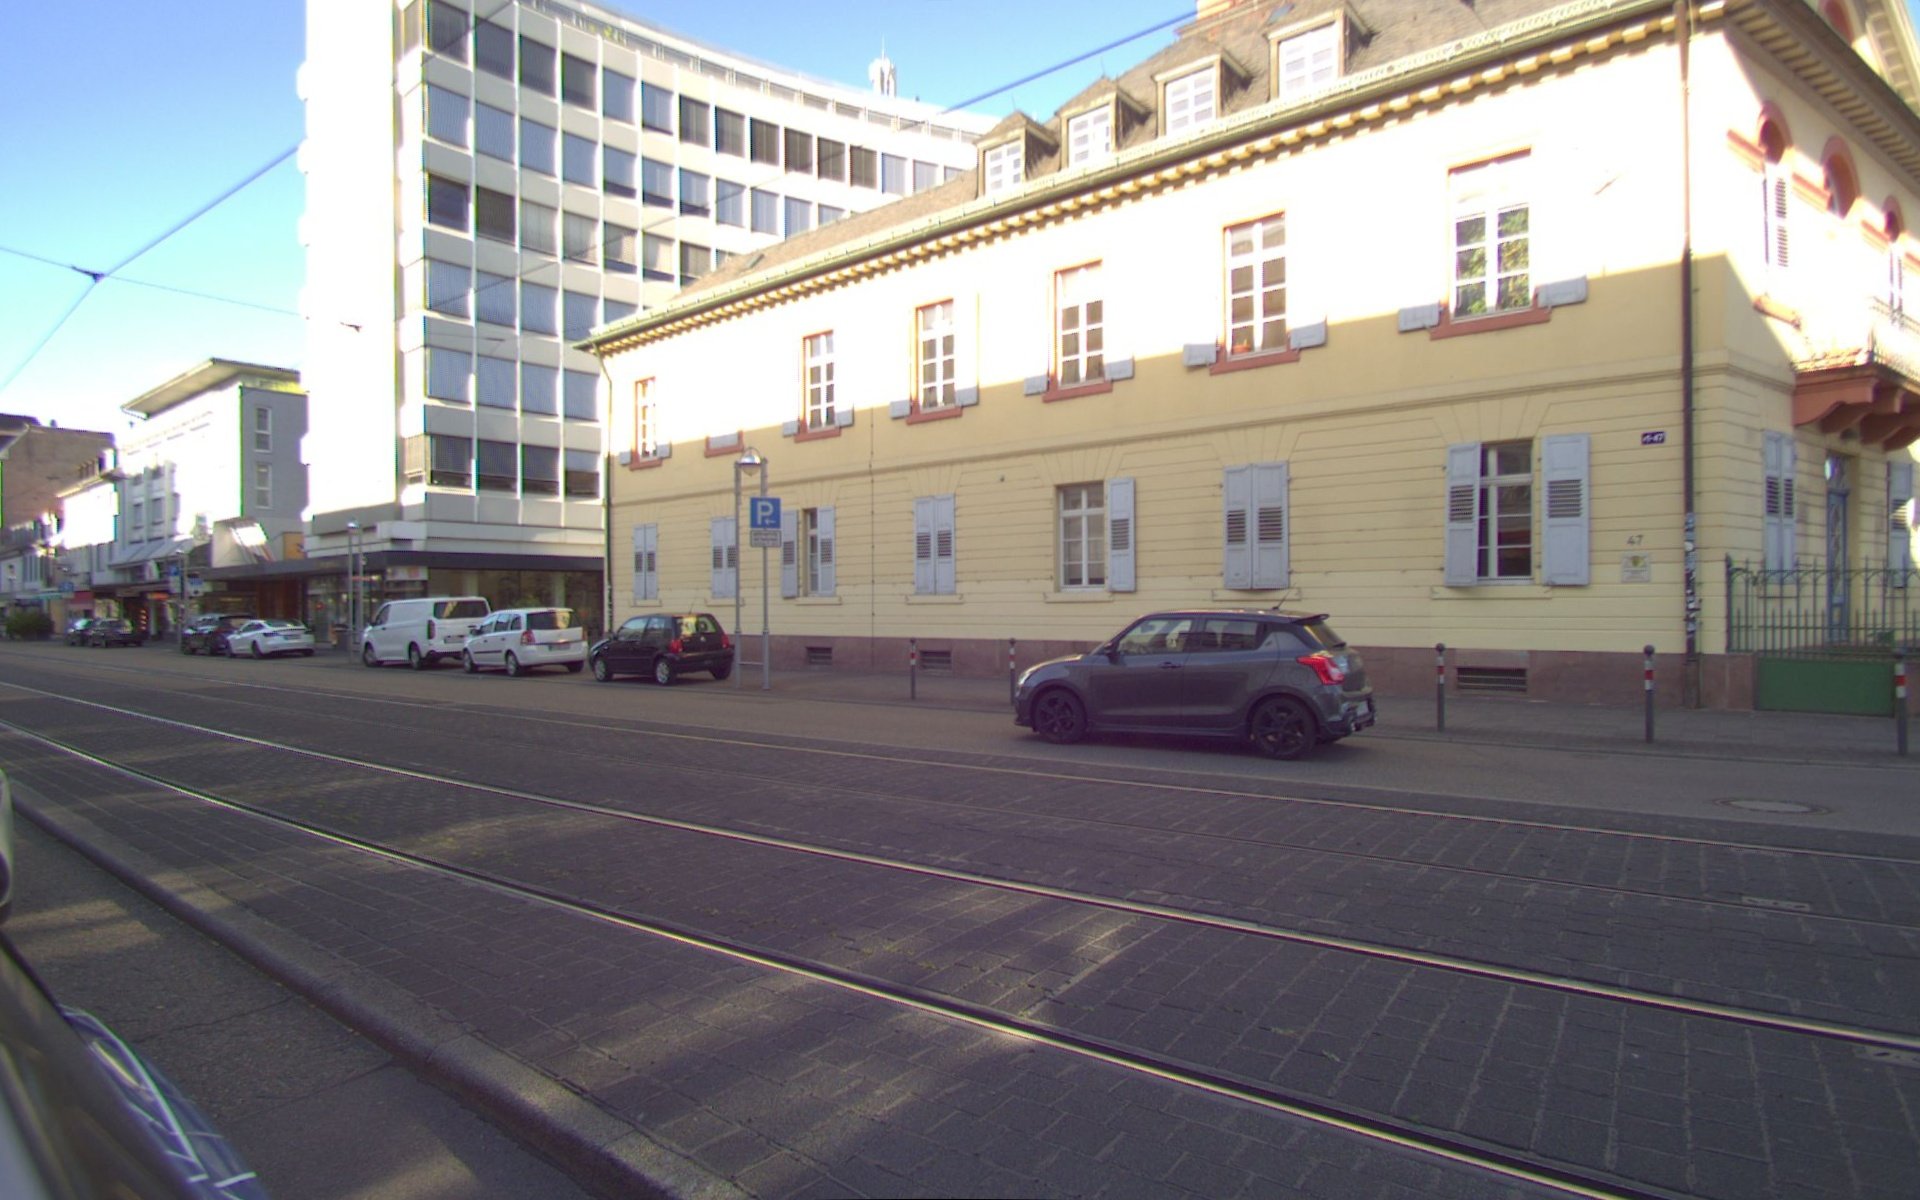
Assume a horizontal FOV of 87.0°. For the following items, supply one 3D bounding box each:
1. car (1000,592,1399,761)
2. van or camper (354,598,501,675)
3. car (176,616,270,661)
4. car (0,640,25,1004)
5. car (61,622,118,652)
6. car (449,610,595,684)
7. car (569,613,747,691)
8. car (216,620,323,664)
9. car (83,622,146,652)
[{"bbox_3d":[2.531,0.744,10.939,3.848,1.521,1.763,-1,-2,32],"label":"car"},{"bbox_3d":[-15.315,0.992,29.007,4.792,1.988,1.936,-1,1,39],"label":"van or camper"},{"bbox_3d":[-29.829,1.519,40.929,4.275,1.654,1.908,-1,1,37],"label":"car"},{"bbox_3d":[-6.233,0.901,4.948,4.771,1.450,1.845,-1,-2,40],"label":"car"},{"bbox_3d":[-47.950,2.009,55.697,3.830,1.531,1.764,-1,0,40],"label":"car"},{"bbox_3d":[-11.030,1.110,25.363,4.175,1.632,1.758,-1,1,42],"label":"car"},{"bbox_3d":[-6.516,1.044,21.666,3.958,1.450,1.759,-1,1,40],"label":"car"},{"bbox_3d":[-25.584,1.523,37.470,4.285,1.463,1.909,-1,1,36],"label":"car"},{"bbox_3d":[-43.663,1.886,52.248,3.593,1.427,1.764,-1,0,38],"label":"car"}]
